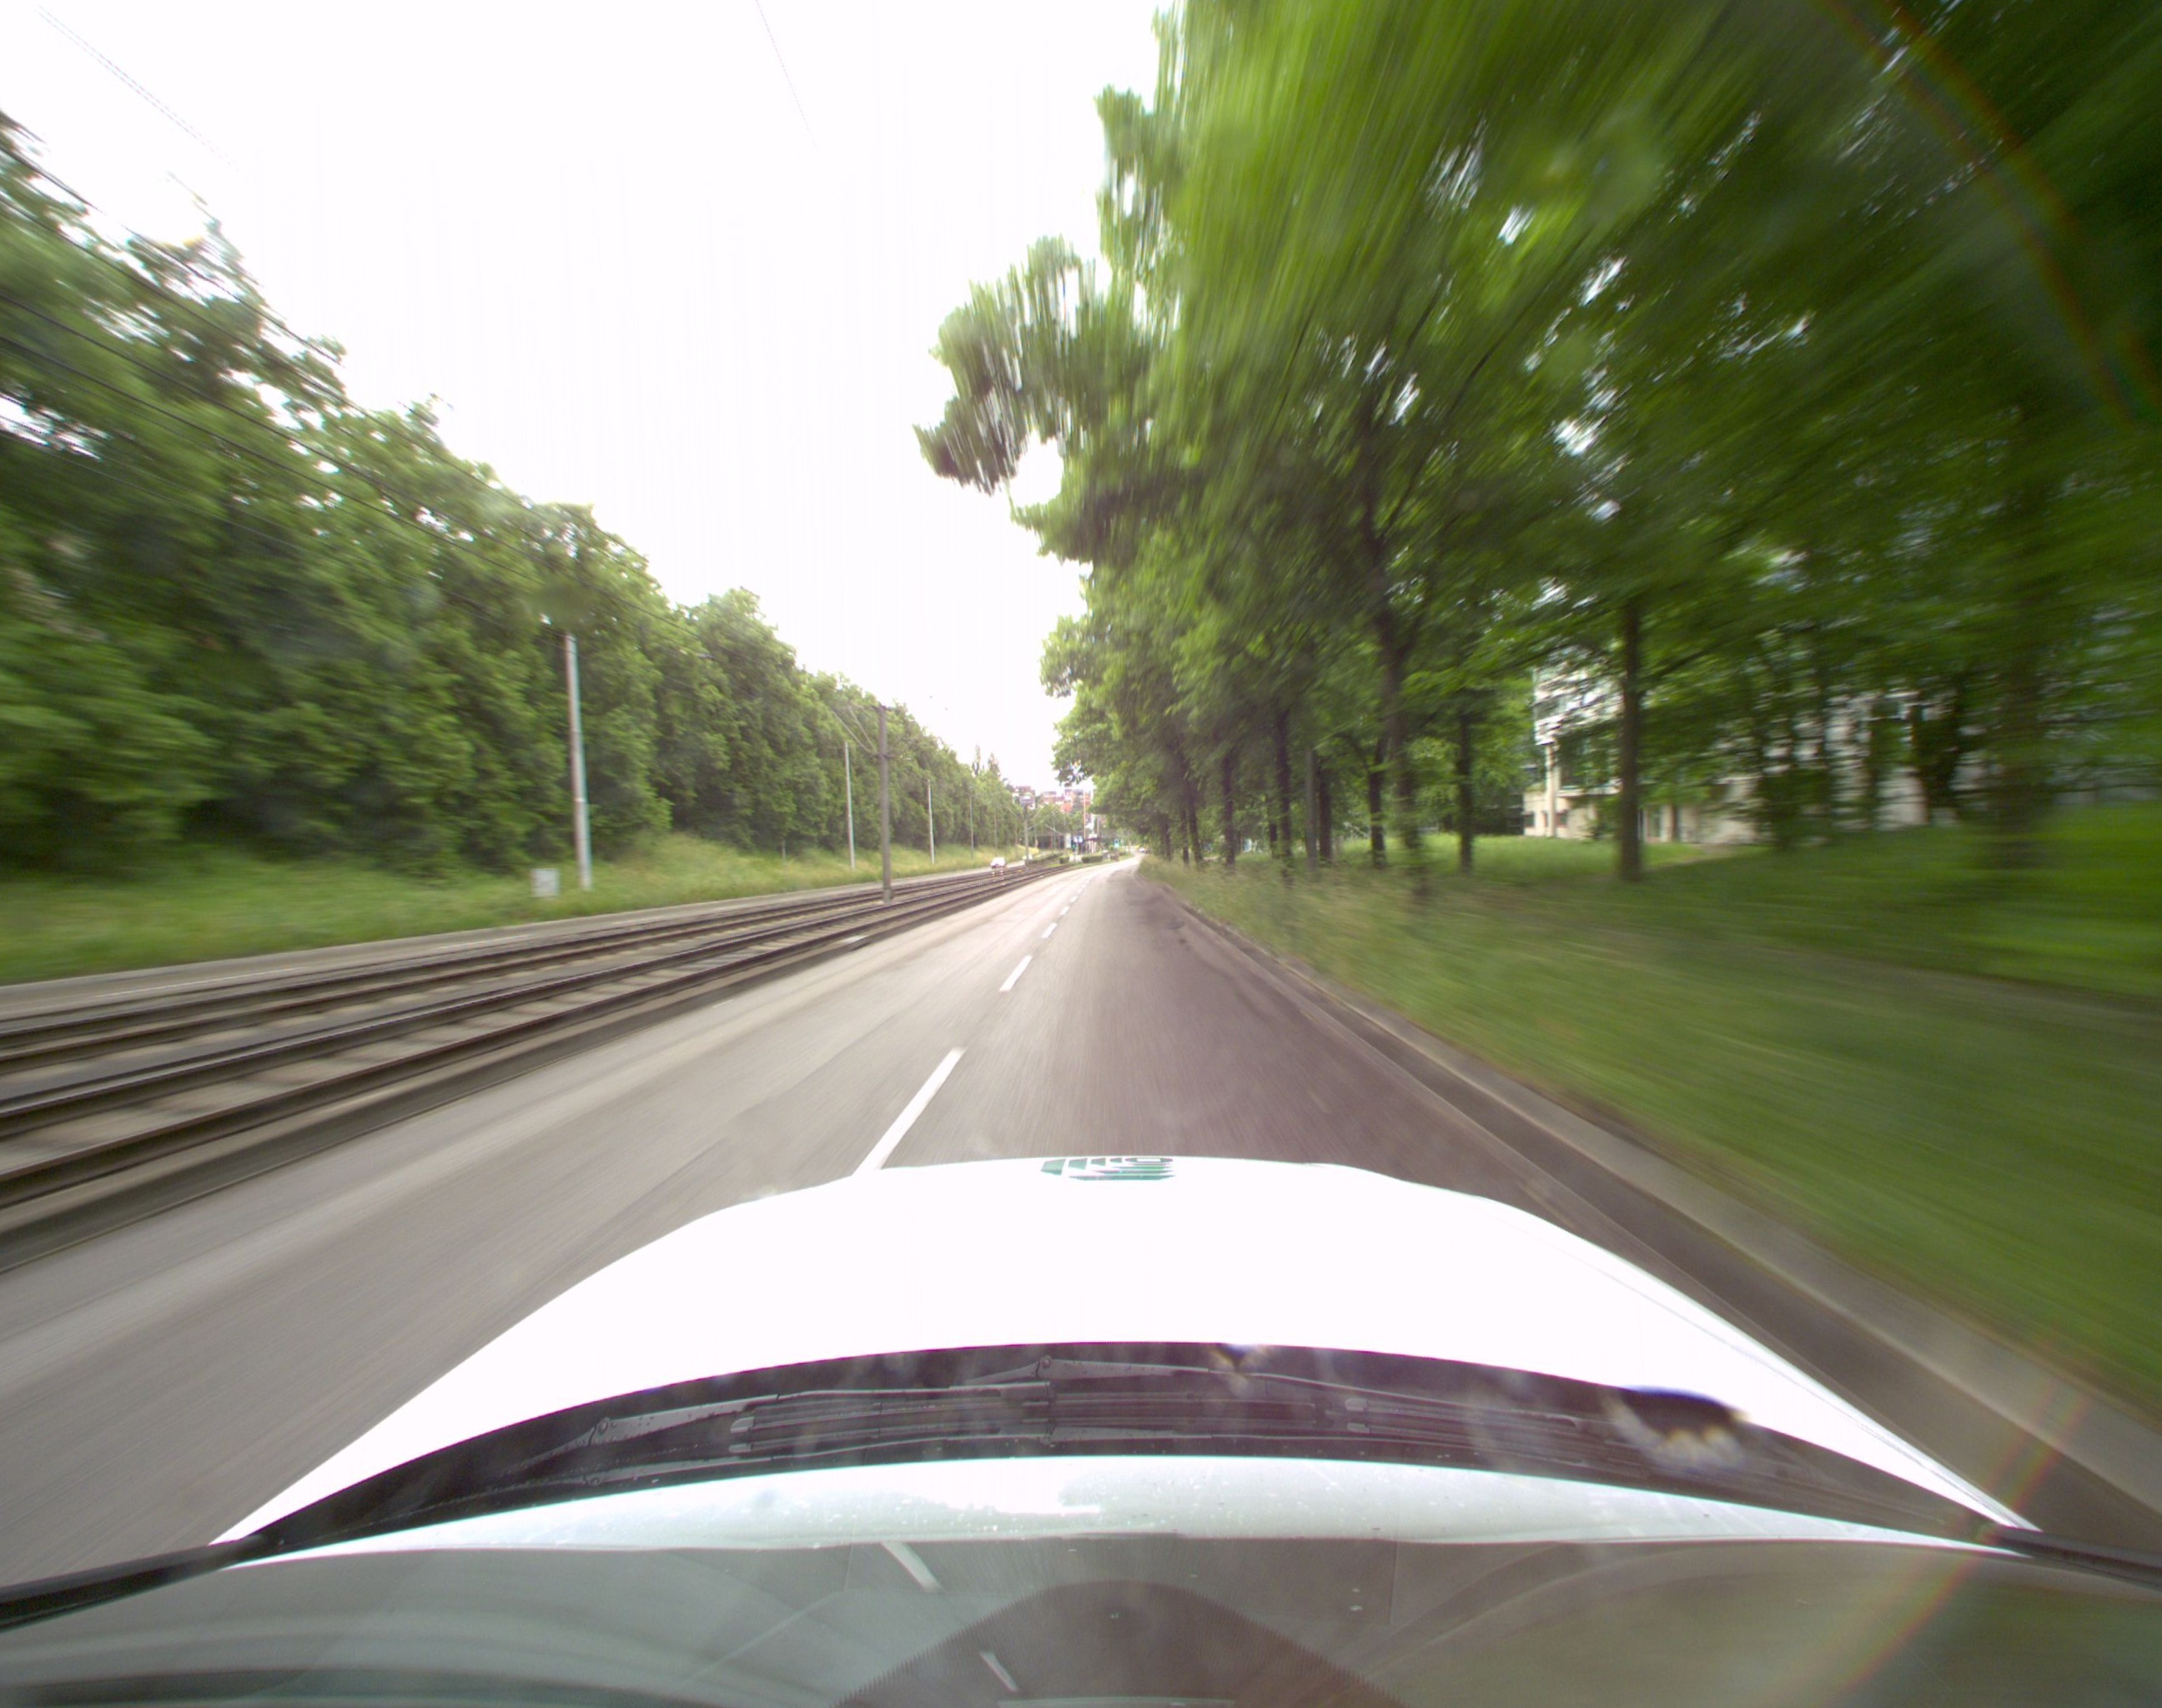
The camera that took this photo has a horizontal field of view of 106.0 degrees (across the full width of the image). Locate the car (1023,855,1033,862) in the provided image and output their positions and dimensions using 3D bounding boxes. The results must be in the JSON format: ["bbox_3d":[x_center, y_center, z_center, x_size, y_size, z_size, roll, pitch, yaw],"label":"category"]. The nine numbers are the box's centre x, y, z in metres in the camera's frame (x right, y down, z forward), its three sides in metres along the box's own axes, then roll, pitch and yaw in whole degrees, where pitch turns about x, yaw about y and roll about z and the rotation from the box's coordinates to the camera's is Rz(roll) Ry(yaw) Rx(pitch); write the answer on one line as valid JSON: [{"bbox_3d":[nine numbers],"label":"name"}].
[{"bbox_3d":[-11.824,0.956,181.788,1.779,1.552,3.960,-3,0,0],"label":"car"}]

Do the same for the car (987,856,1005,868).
[{"bbox_3d":[-11.071,1.017,106.068,1.664,1.443,4.027,-4,0,1],"label":"car"}]
